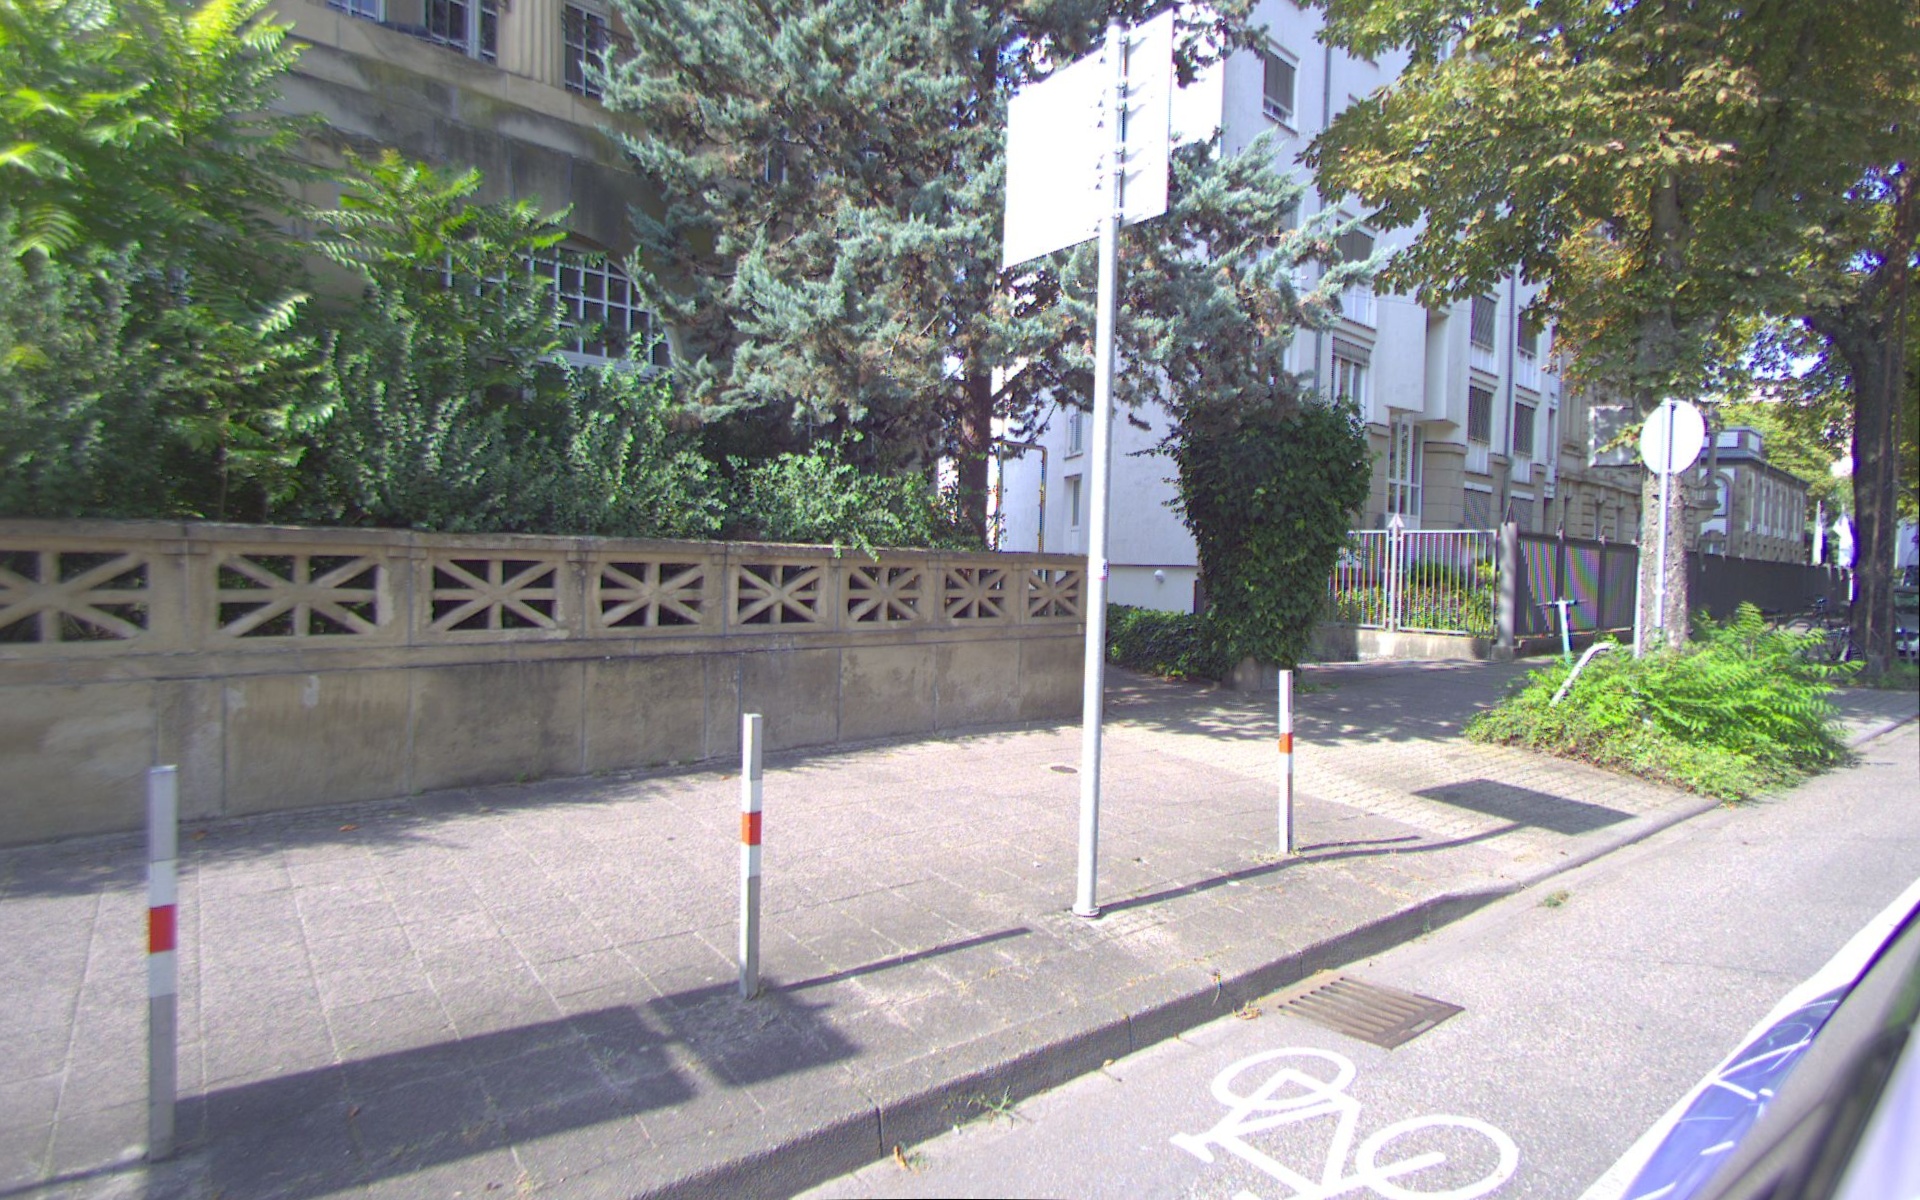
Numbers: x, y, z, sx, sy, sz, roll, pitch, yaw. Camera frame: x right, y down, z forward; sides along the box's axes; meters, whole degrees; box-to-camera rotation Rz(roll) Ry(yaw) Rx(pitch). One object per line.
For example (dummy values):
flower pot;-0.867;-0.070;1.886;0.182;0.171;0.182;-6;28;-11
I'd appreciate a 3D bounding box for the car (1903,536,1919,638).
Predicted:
car;26.549;-0.304;26.514;6.122;2.529;2.050;0;3;-42

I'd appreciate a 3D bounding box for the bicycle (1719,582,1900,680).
bicycle;11.918;0.422;14.245;1.812;1.178;0.504;4;8;9

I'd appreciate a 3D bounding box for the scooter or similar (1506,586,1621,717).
scooter or similar;6.079;0.491;10.191;1.015;1.211;0.560;0;5;-36

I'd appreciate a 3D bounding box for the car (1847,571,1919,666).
car;17.960;0.321;18.810;4.283;1.541;1.610;-1;6;-42

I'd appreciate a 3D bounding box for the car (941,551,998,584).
car;0.433;-1.675;51.356;1.797;1.585;4.010;1;2;-17
